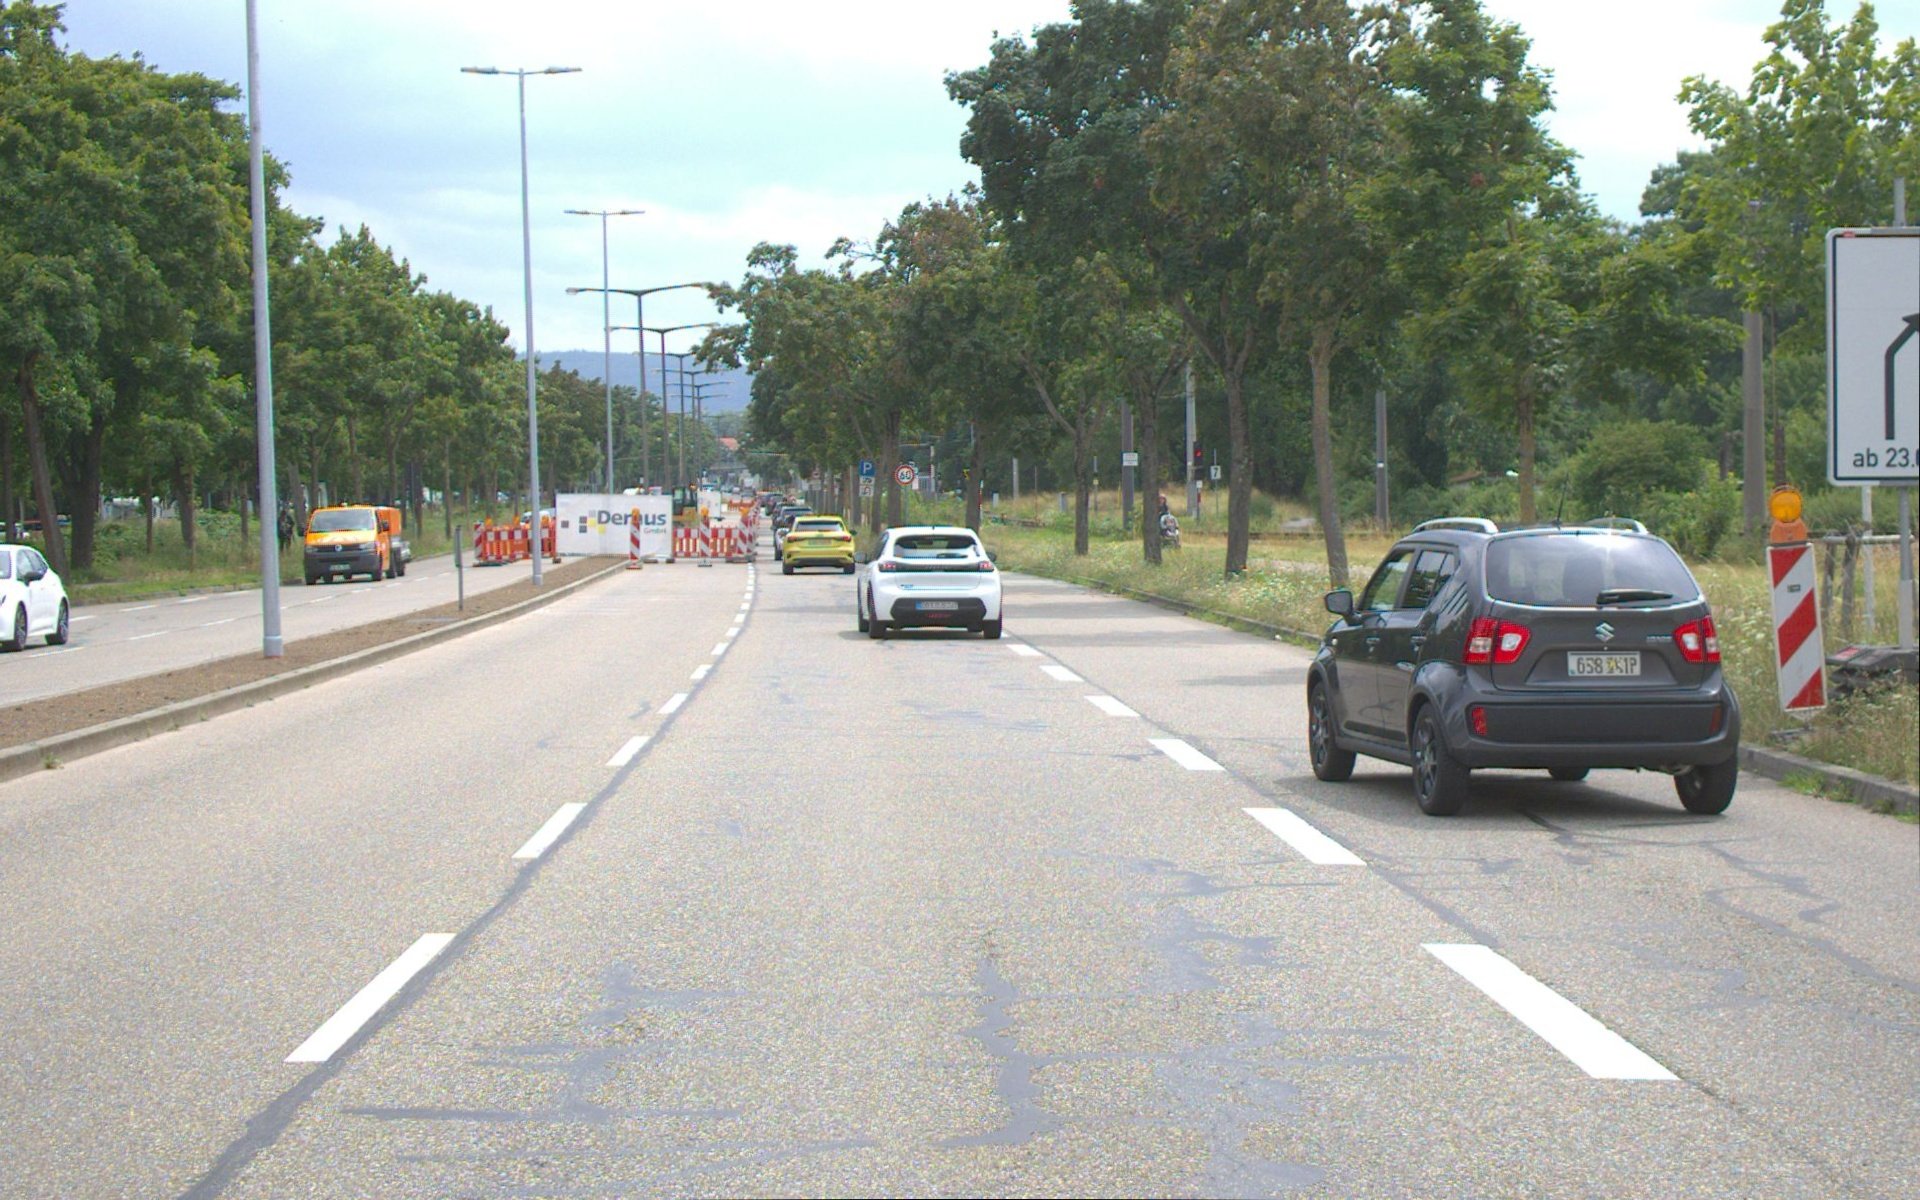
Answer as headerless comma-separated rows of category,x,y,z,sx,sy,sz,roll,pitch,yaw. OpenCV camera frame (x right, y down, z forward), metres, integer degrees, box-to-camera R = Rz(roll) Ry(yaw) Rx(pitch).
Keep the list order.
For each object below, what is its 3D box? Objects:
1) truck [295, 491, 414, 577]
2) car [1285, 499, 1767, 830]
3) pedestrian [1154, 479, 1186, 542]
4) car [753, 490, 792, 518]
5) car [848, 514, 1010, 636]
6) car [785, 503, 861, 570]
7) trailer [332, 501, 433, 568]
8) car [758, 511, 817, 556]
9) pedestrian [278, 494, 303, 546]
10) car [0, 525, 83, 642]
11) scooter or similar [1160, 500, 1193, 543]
truck,-15.375,-1.714,87.609,2.088,1.987,6.040,-2,2,-2
car,3.091,0.273,19.600,1.703,1.662,4.001,0,2,-6
pedestrian,5.663,-2.419,92.883,0.690,1.689,0.934,-1,2,-7
car,-11.619,-5.938,212.934,2.206,1.678,4.001,-1,2,0
car,-0.459,-0.366,45.498,1.766,1.459,4.001,-1,2,-6
car,-3.393,-1.594,85.512,1.793,1.556,4.001,-1,2,-1
trailer,-15.468,-1.771,92.236,2.062,1.684,3.895,-2,2,-1
car,-5.196,-2.019,103.946,1.667,1.265,4.001,-1,2,-1
pedestrian,-23.913,-2.866,122.773,0.690,1.832,0.651,-2,2,-24
car,-13.122,-0.222,46.002,1.716,1.415,4.160,-2,2,-1
scooter or similar,5.789,-2.108,91.960,0.681,1.126,0.934,-1,2,-7
